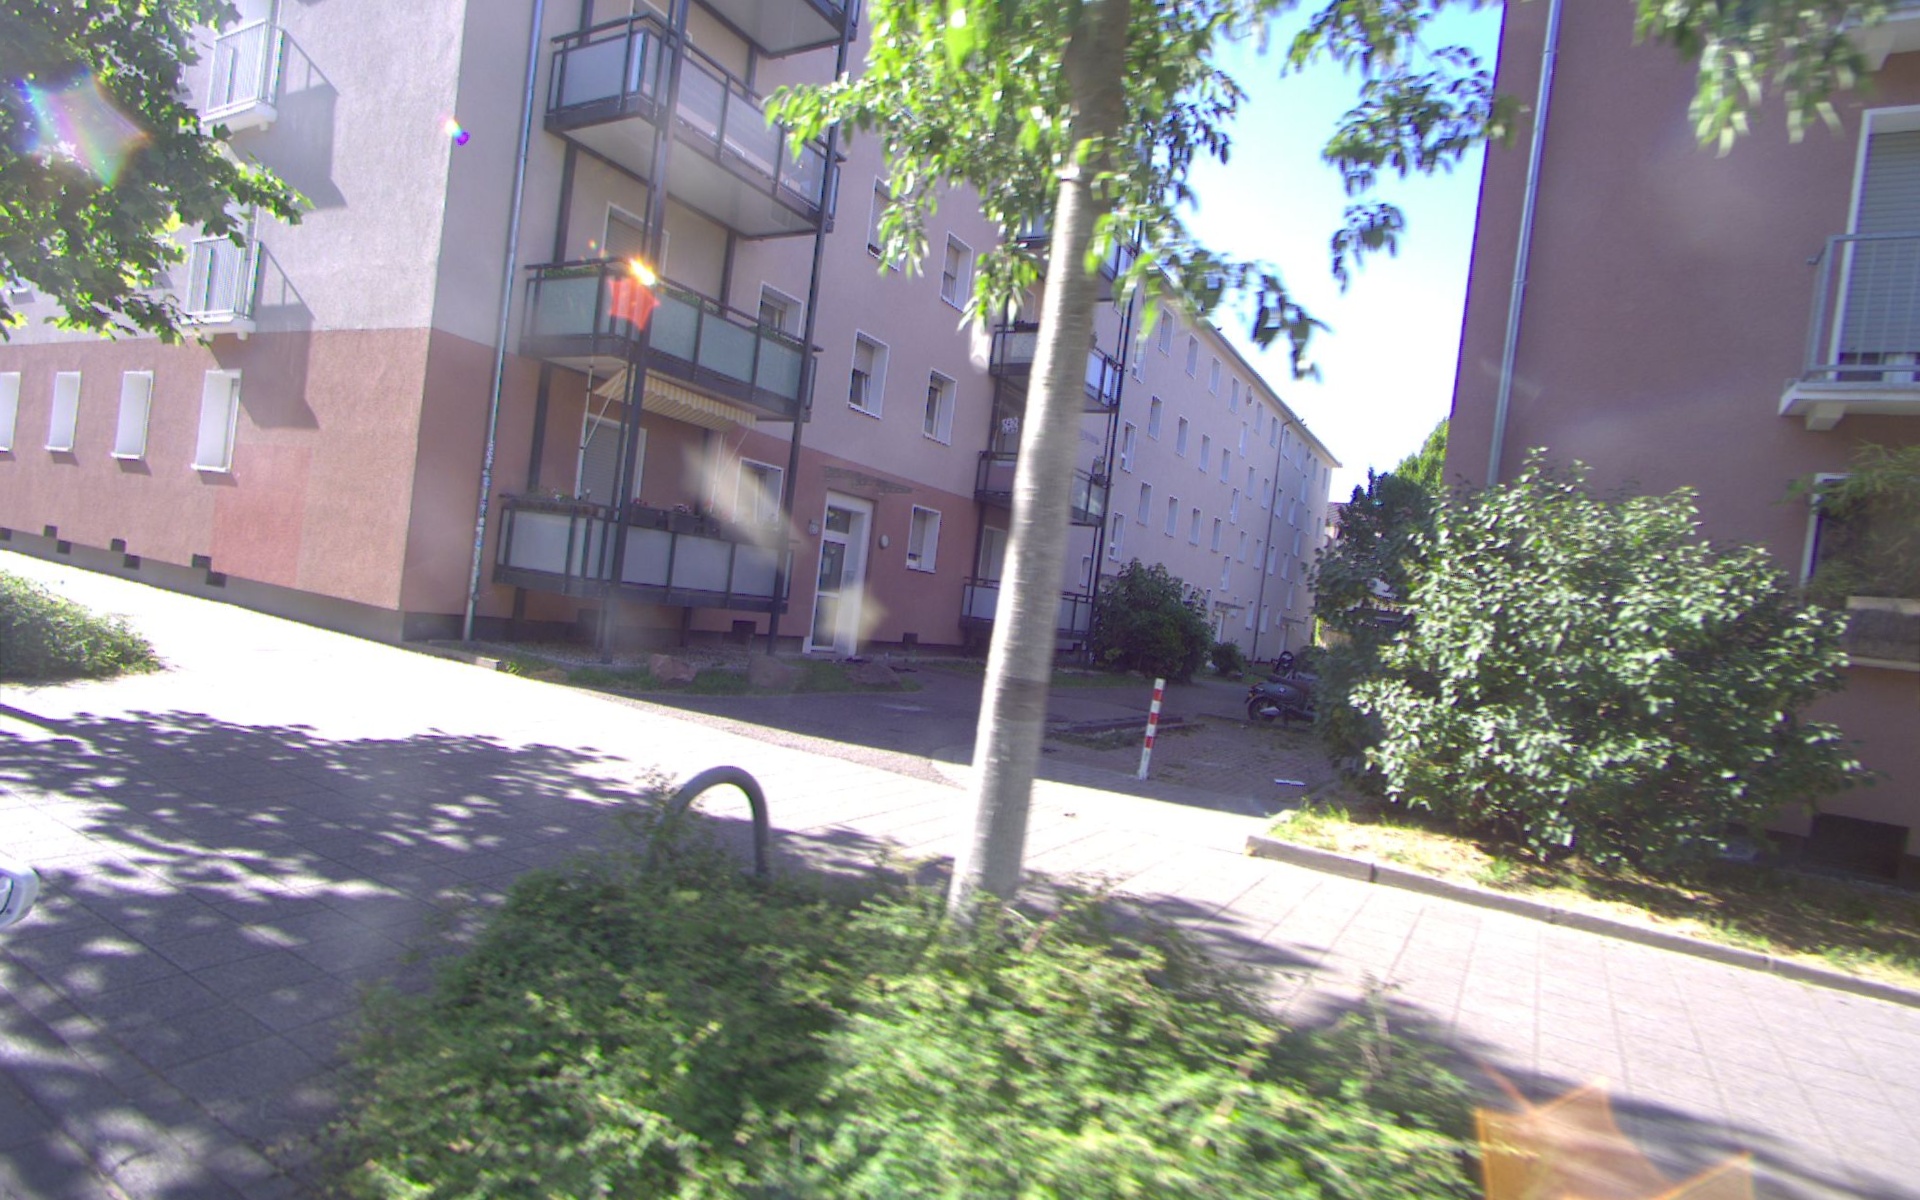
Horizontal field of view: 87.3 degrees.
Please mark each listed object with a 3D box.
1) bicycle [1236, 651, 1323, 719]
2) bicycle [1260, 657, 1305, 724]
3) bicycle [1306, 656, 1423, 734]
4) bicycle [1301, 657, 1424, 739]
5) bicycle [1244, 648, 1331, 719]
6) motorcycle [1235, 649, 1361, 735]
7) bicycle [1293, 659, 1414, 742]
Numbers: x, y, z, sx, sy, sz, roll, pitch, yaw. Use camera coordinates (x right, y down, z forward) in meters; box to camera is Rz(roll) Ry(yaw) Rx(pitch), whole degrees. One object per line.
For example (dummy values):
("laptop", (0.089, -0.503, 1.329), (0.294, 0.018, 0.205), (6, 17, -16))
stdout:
("bicycle", (6.365, 1.686, 20.066), (1.456, 1.112, 0.556), (8, 1, 33))
("bicycle", (6.011, 1.655, 18.690), (0.547, 1.112, 1.719), (8, 0, 22))
("bicycle", (7.598, 1.771, 18.919), (1.850, 1.166, 0.577), (8, 1, 33))
("bicycle", (7.246, 1.752, 18.148), (1.850, 1.166, 0.577), (8, 1, 33))
("bicycle", (6.678, 1.690, 20.551), (1.456, 1.221, 0.556), (8, 1, 33))
("motorcycle", (5.481, 1.476, 16.366), (1.742, 1.120, 0.525), (8, 1, 32))
("bicycle", (6.716, 1.693, 17.211), (1.742, 1.120, 0.566), (8, 1, 32))
